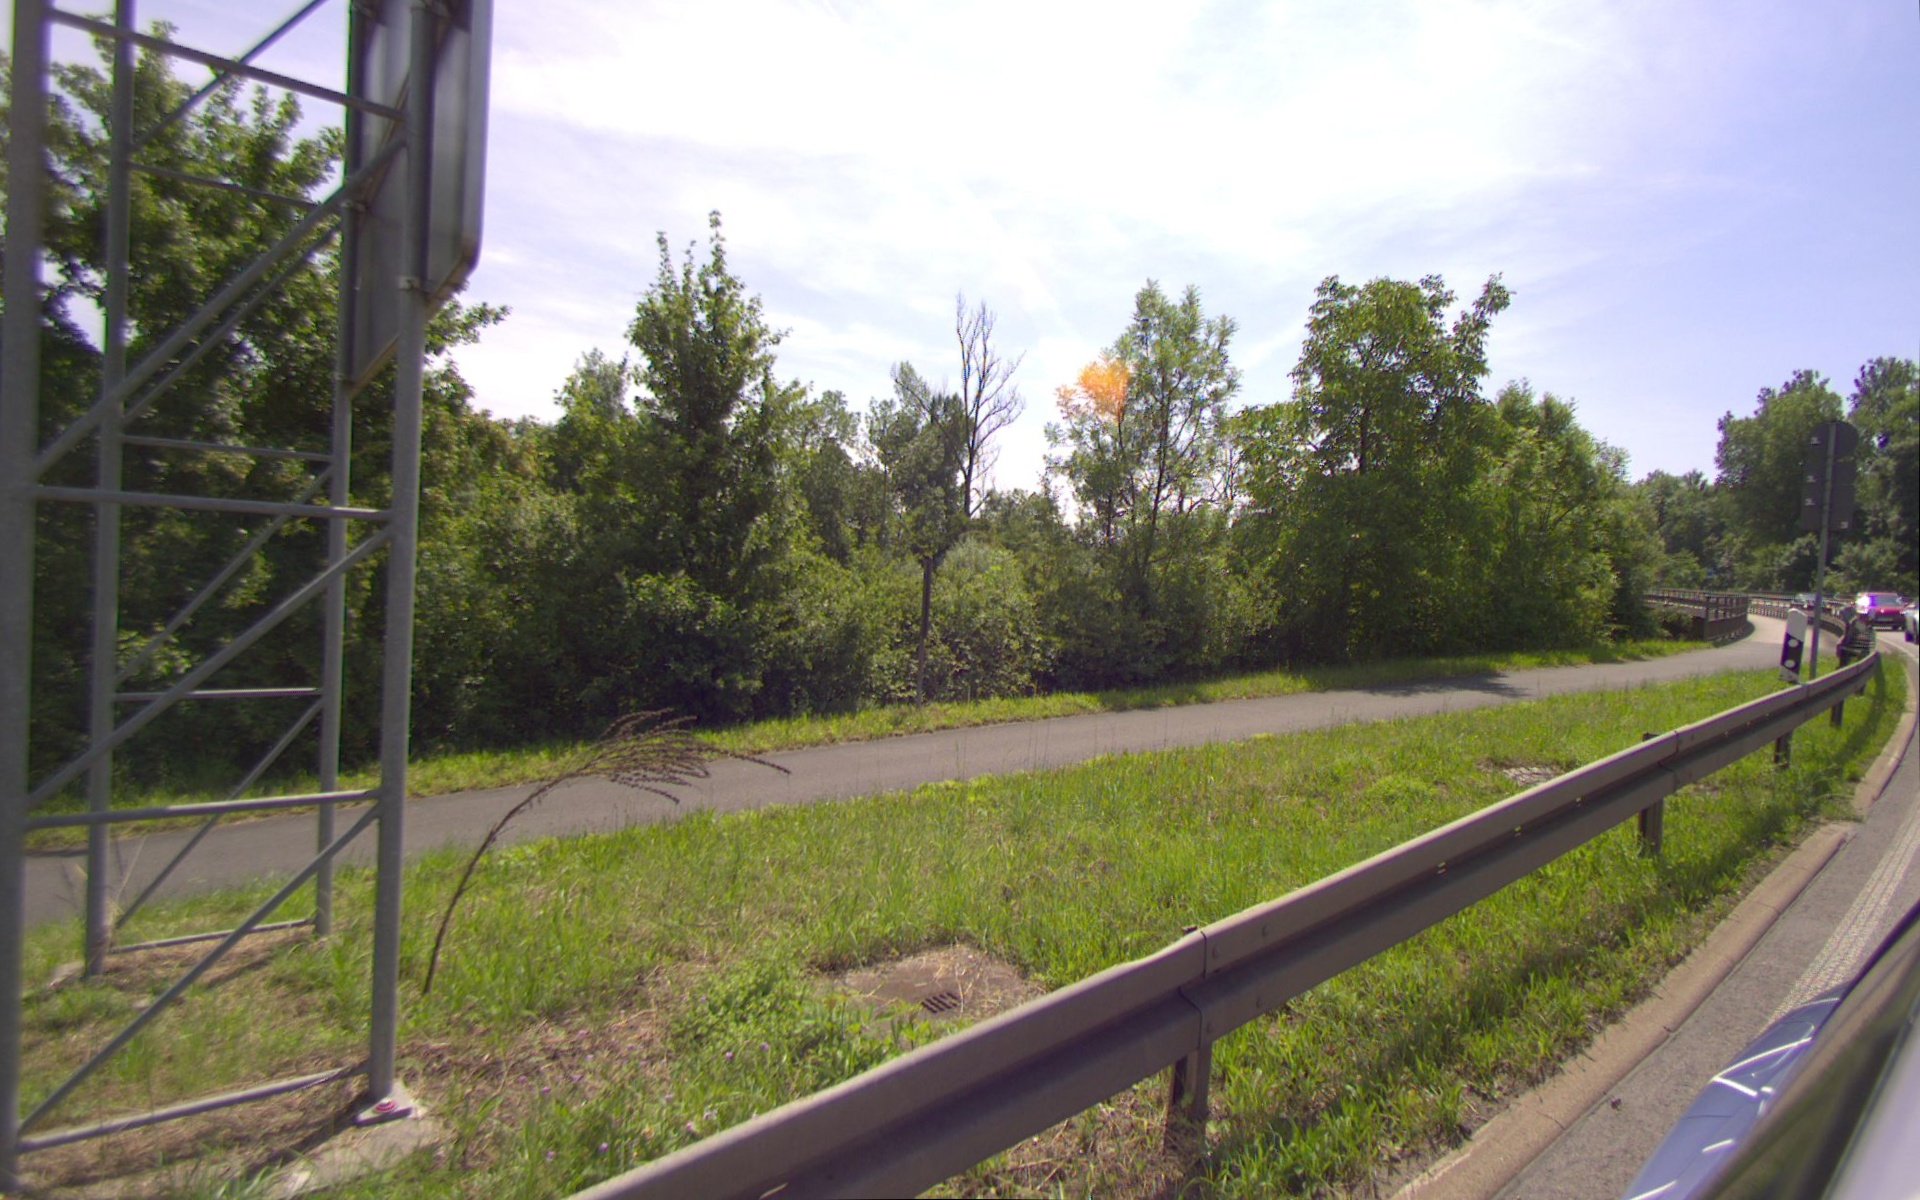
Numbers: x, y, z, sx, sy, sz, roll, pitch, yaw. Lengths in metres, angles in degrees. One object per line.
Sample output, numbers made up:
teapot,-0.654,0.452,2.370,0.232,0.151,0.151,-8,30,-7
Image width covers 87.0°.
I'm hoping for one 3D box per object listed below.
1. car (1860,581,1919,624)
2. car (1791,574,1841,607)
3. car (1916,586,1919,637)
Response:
car,40.761,0.118,44.114,1.989,1.798,3.946,0,0,37
car,54.841,-0.638,64.928,1.986,2.039,3.952,-1,1,34
car,31.971,0.382,32.208,1.901,1.668,3.894,0,0,39
